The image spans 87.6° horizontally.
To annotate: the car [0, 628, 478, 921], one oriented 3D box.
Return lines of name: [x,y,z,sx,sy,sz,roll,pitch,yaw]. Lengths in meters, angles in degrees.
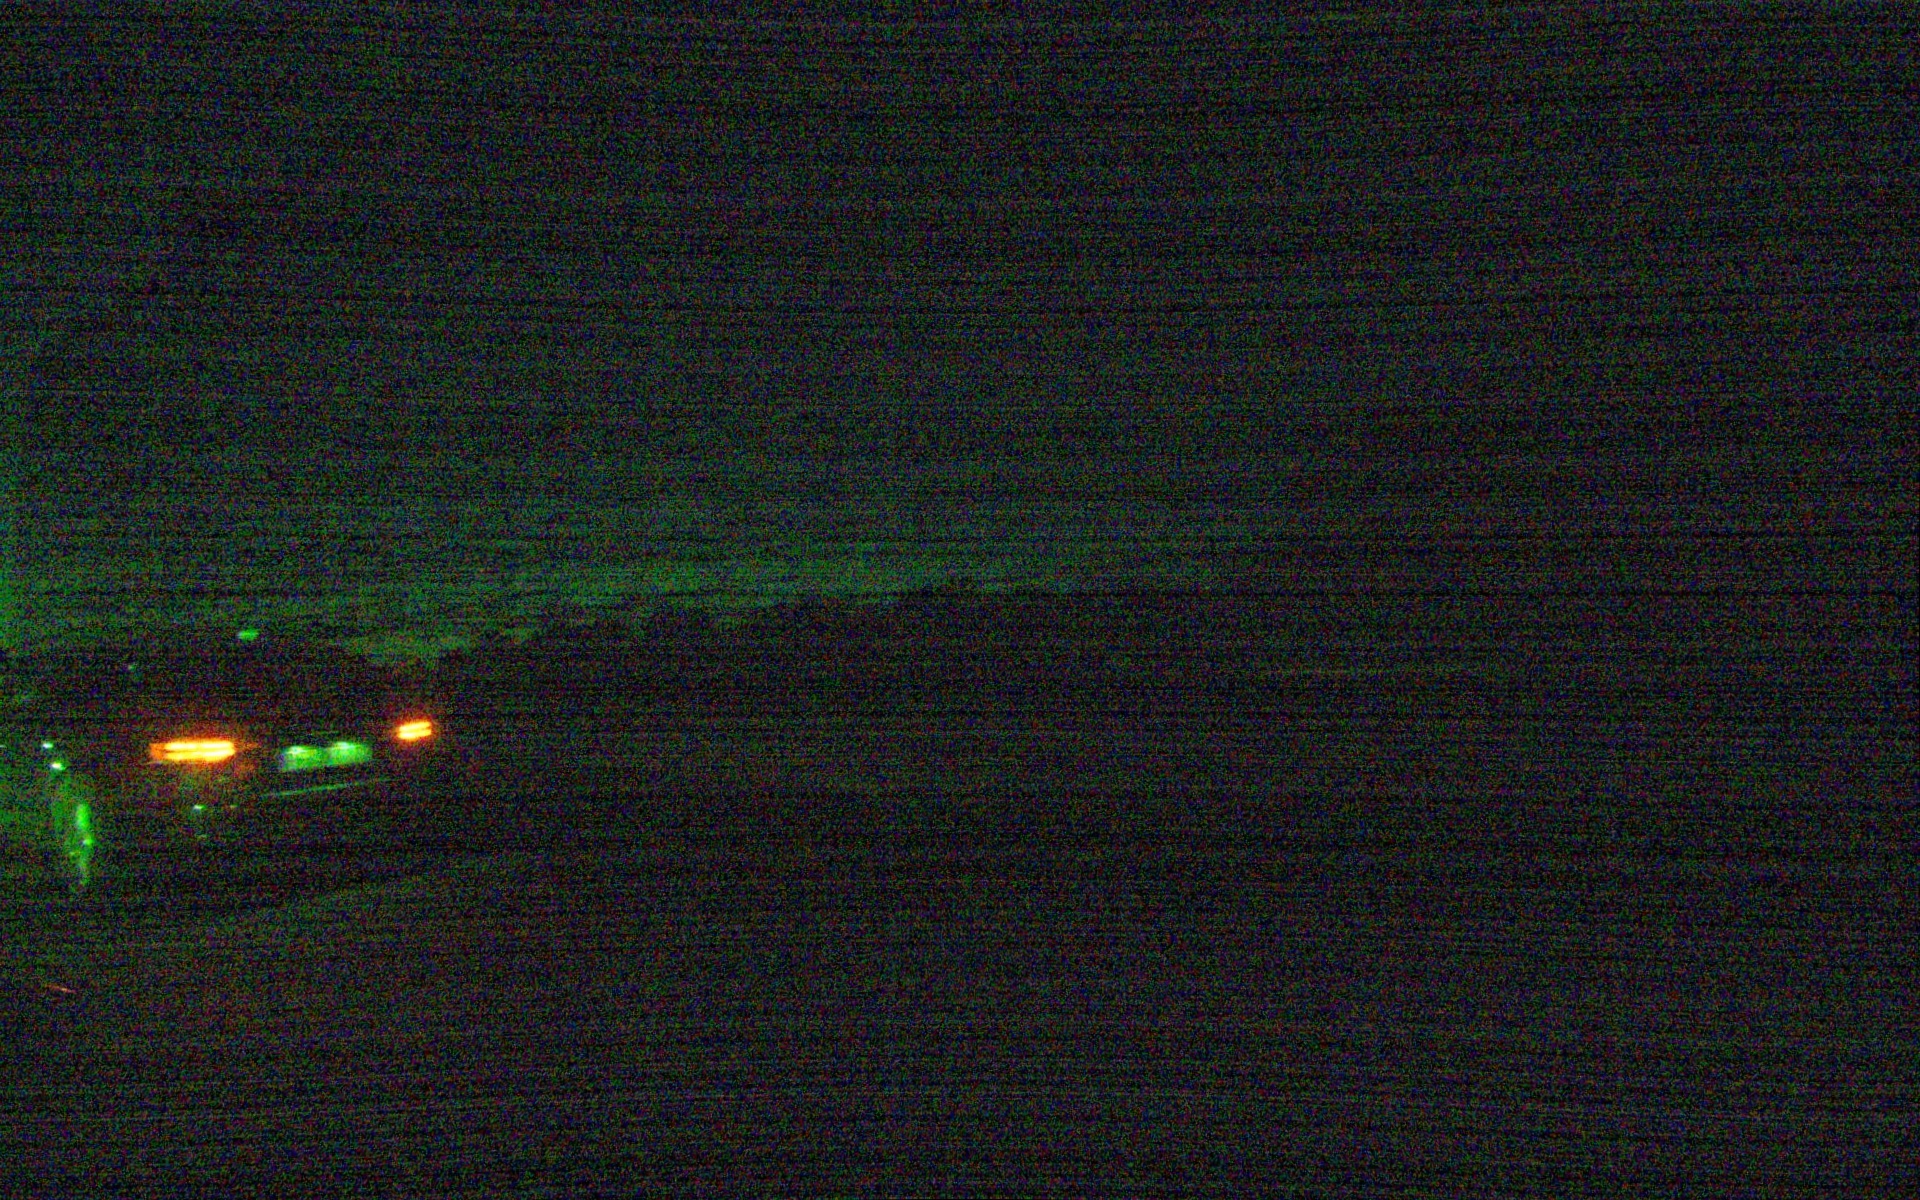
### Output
car: [-5.702,0.950,7.042,4.802,1.445,1.805,-1,-1,30]
